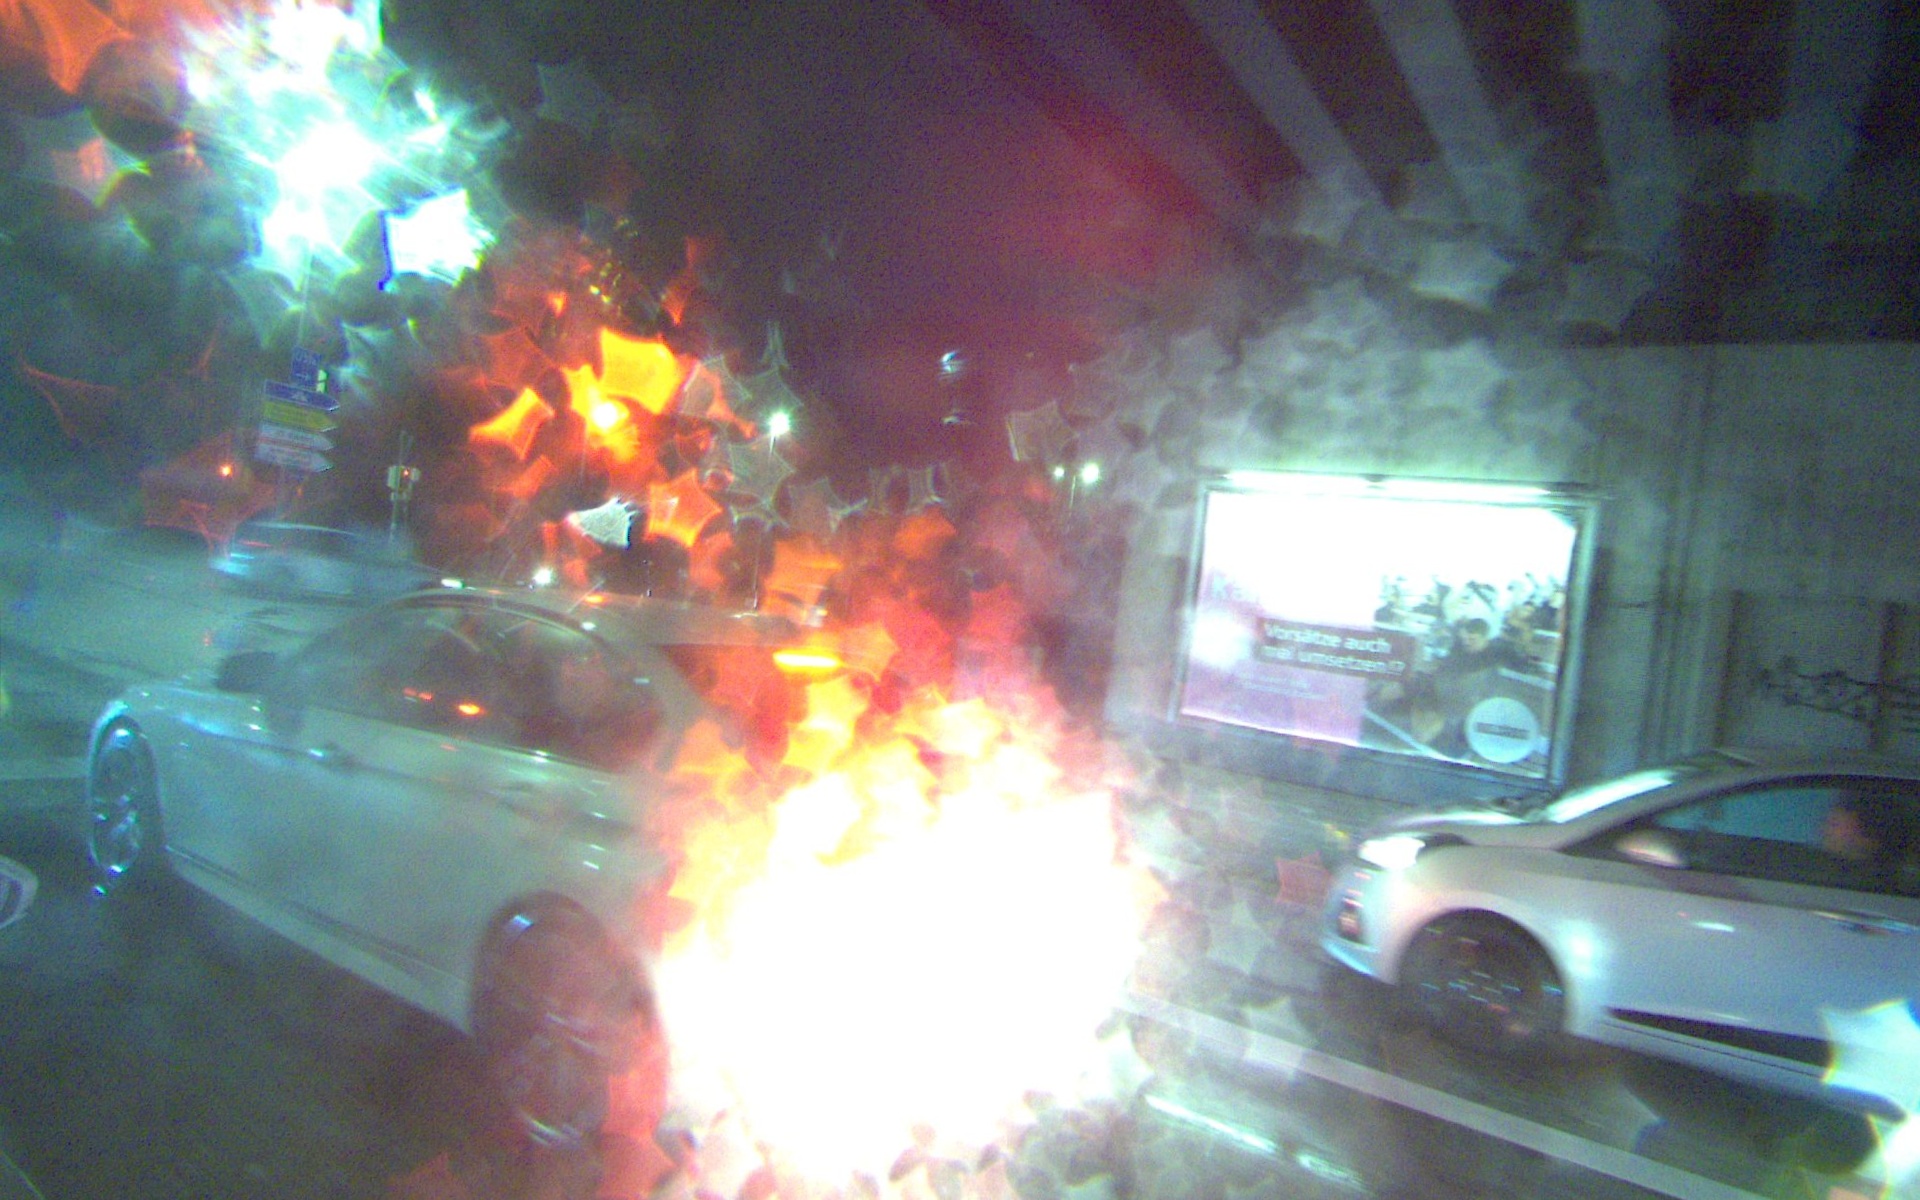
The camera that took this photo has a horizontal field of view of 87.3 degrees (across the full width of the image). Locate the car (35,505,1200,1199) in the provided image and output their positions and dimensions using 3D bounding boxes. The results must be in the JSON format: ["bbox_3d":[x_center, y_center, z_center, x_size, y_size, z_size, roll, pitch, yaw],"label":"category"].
[{"bbox_3d":[-1.520,0.591,3.825,4.309,1.465,1.722,7,1,31],"label":"car"}]

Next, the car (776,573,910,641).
[{"bbox_3d":[-3.919,0.304,34.646,1.807,1.790,4.829,6,-1,32],"label":"car"}]

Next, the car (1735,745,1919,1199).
[{"bbox_3d":[3.423,1.242,0.861,4.092,1.464,1.723,7,-1,31],"label":"car"}]

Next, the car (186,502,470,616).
[{"bbox_3d":[-12.633,-0.761,20.375,1.809,1.669,4.416,6,-1,36],"label":"car"}]

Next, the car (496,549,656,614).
[{"bbox_3d":[-13.320,-0.600,35.177,1.826,1.609,4.849,6,-2,38],"label":"car"}]

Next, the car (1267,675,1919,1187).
[{"bbox_3d":[3.668,1.340,4.327,4.092,1.465,1.722,7,1,31],"label":"car"}]
